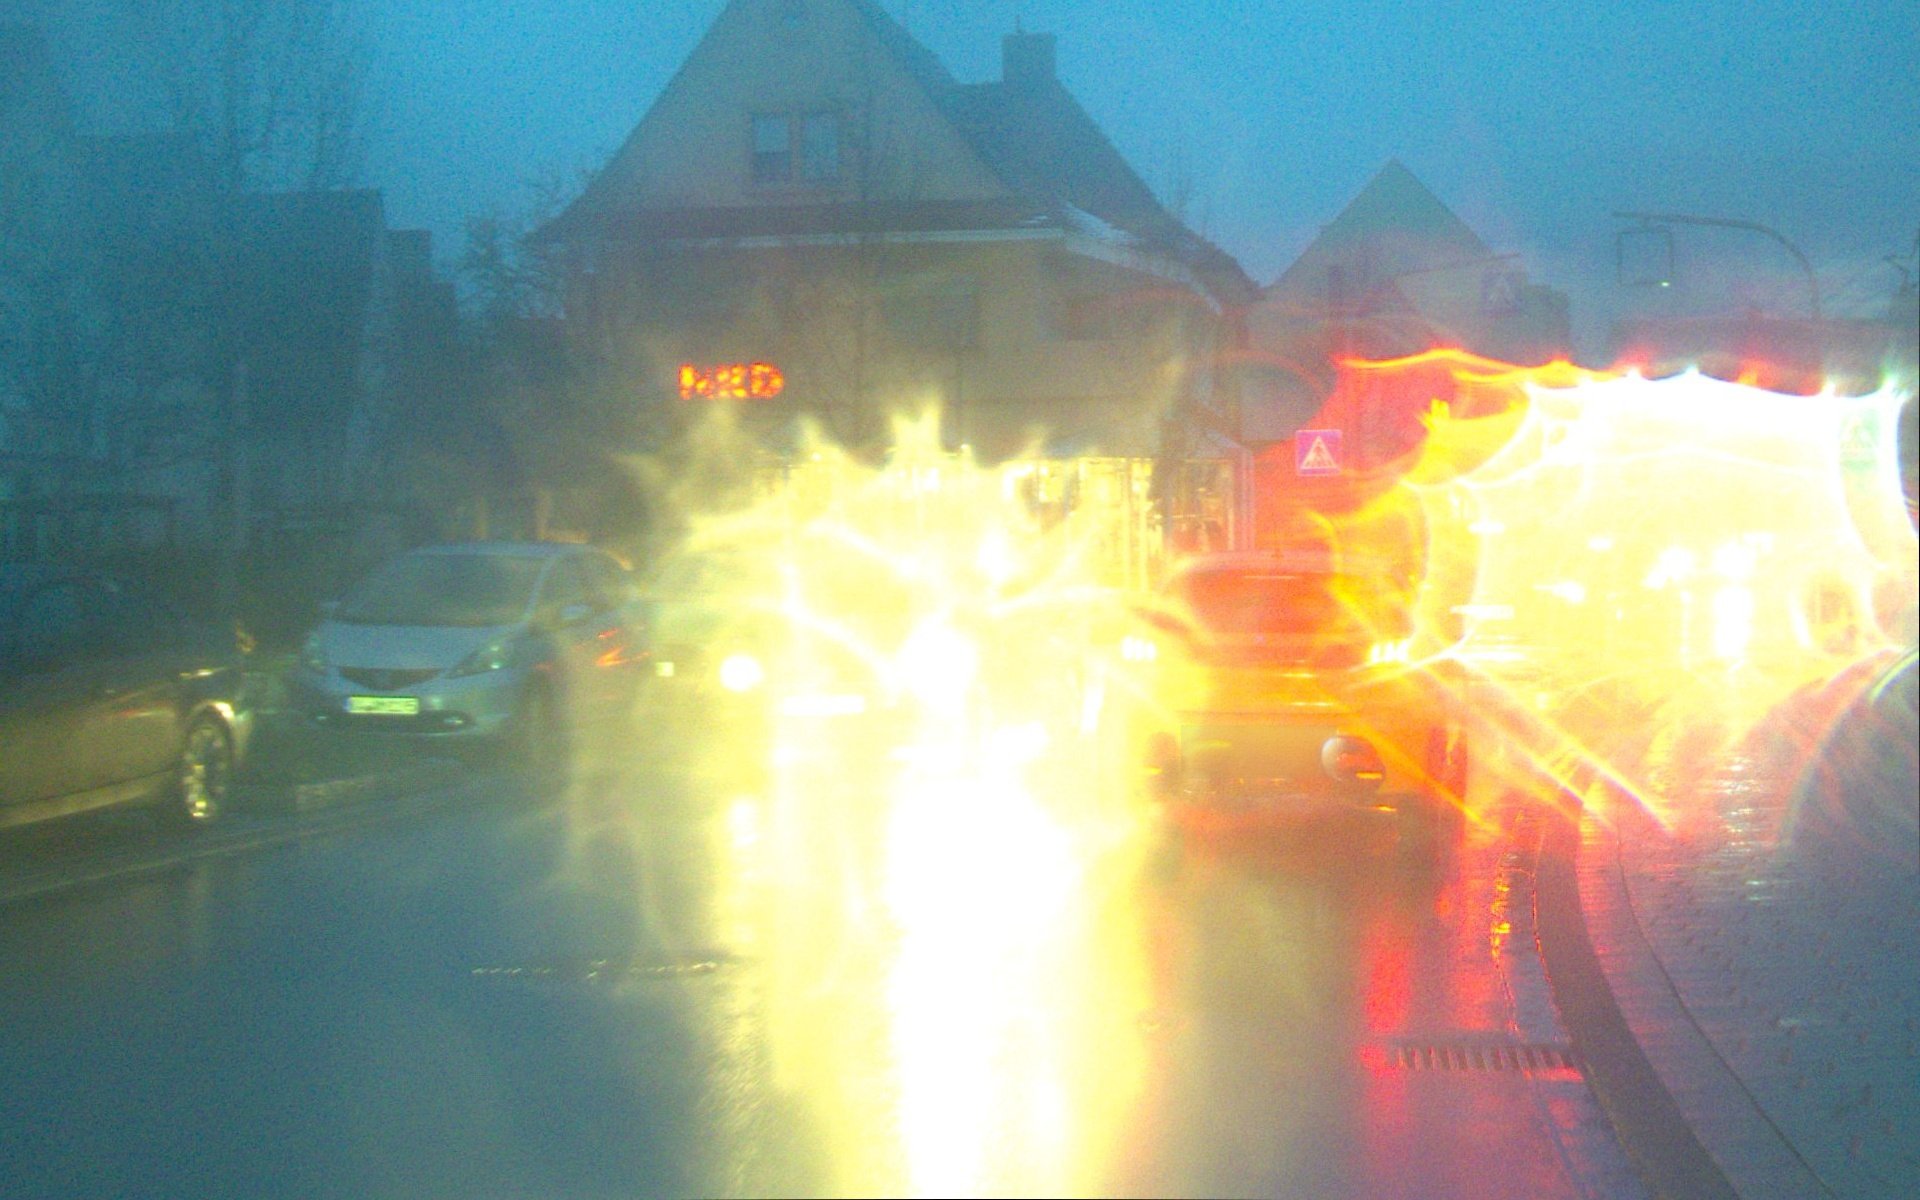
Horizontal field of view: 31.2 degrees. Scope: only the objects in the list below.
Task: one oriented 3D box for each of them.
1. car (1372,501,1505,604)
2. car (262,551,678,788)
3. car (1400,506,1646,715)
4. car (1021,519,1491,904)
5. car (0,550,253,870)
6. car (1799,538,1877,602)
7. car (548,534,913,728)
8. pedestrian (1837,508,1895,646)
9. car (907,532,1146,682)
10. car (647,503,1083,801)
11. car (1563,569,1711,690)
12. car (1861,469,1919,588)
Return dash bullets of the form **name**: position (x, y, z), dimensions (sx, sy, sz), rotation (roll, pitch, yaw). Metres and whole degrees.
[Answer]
- **car**: position (9.699, -0.952, 69.428), dimensions (1.995, 2.007, 4.358), rotation (0, 1, 17)
- **car**: position (-3.367, 0.420, 24.332), dimensions (1.693, 1.511, 3.771), rotation (1, 1, 12)
- **car**: position (4.908, 0.063, 29.608), dimensions (1.799, 1.656, 3.998), rotation (1, 1, 13)
- **car**: position (1.737, 0.475, 18.525), dimensions (1.994, 1.789, 4.646), rotation (0, 1, 11)
- **car**: position (-5.194, 0.501, 16.657), dimensions (1.748, 1.467, 4.456), rotation (1, 1, 13)
- **car**: position (20.163, -0.709, 78.853), dimensions (1.535, 1.241, 3.645), rotation (-5, 1, 16)
- **car**: position (-1.887, 0.215, 29.686), dimensions (1.750, 1.511, 4.339), rotation (2, 1, 16)
- **pedestrian**: position (12.588, -0.321, 47.745), dimensions (0.664, 1.881, 0.823), rotation (1, 0, 22)
- **car**: position (0.786, 0.045, 37.693), dimensions (1.671, 1.511, 3.997), rotation (2, 1, 15)
- **car**: position (-0.523, 0.277, 23.928), dimensions (2.142, 1.854, 4.741), rotation (0, 1, 10)
- **car**: position (8.482, 0.338, 42.904), dimensions (1.650, 1.437, 3.864), rotation (-1, 0, 13)
- **car**: position (17.374, -1.203, 58.747), dimensions (3.700, 2.007, 1.687), rotation (1, 0, 19)
